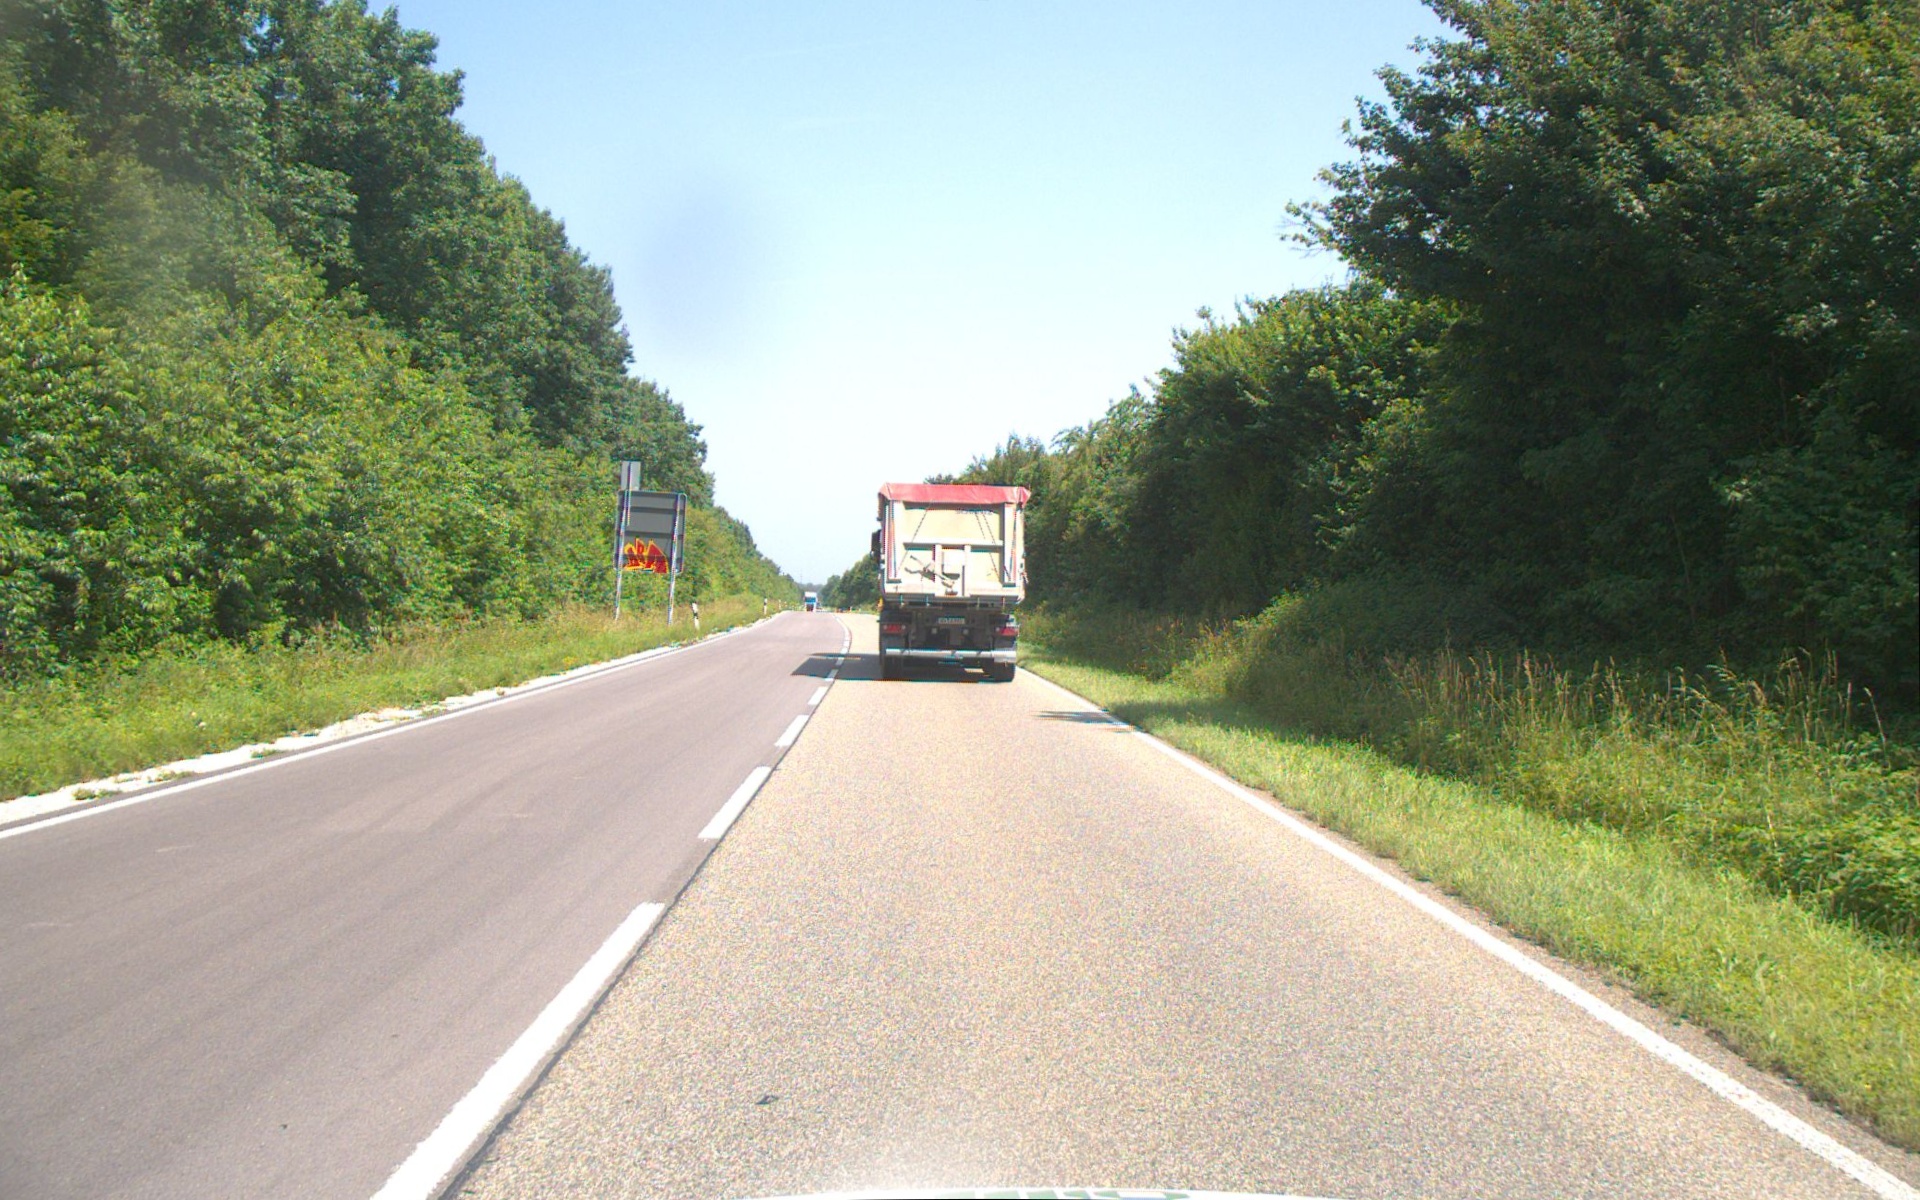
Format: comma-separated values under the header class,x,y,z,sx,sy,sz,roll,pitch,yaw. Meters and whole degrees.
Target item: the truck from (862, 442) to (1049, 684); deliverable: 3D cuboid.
class,x,y,z,sx,sy,sz,roll,pitch,yaw
truck,-0.420,-0.652,33.945,2.837,4.031,11.921,1,0,-5
